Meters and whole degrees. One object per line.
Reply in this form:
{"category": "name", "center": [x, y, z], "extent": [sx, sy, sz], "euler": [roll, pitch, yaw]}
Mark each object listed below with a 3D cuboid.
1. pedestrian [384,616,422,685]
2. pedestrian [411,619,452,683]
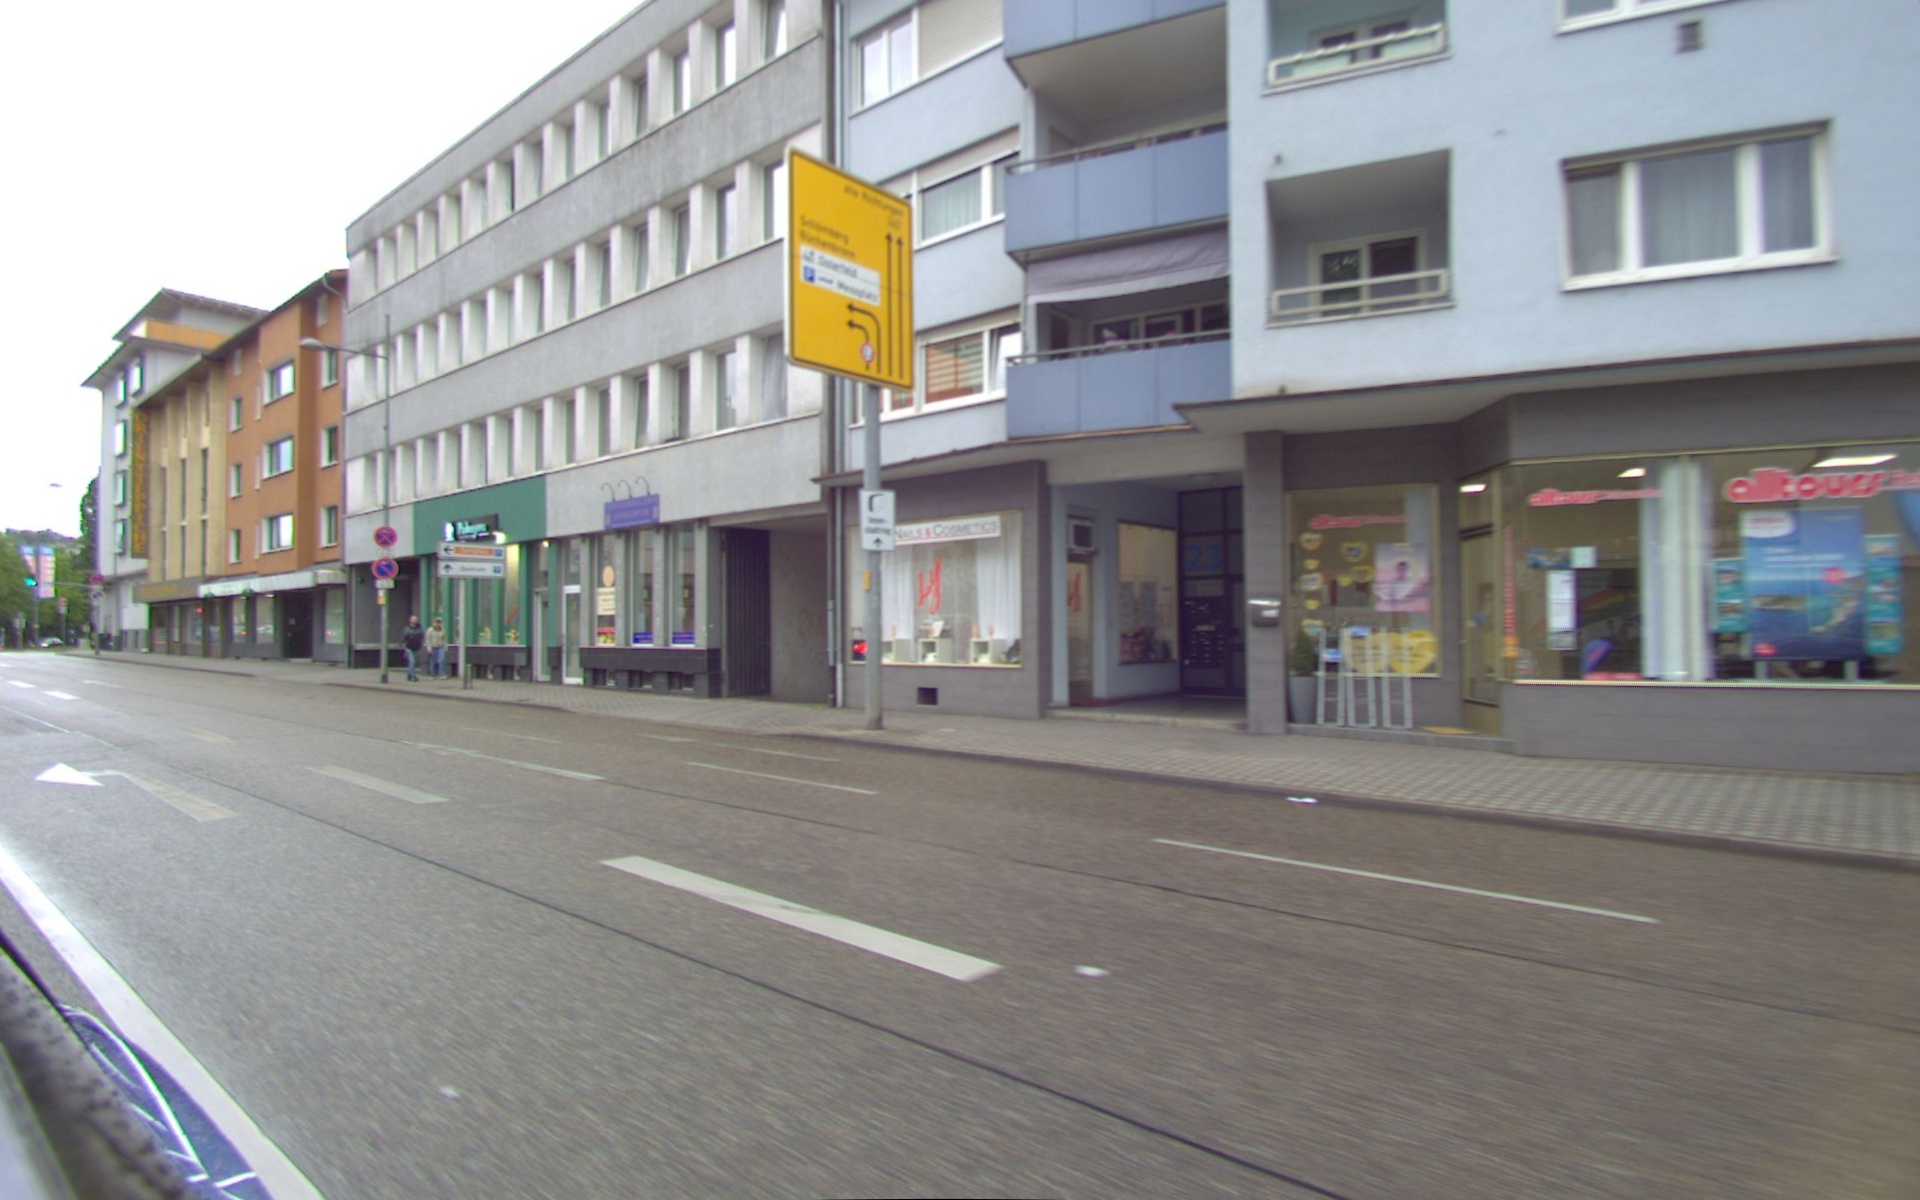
{"category": "pedestrian", "center": [-15.039, 1.340, 27.340], "extent": [0.826, 1.801, 0.569], "euler": [-1, 2, 41]}
{"category": "pedestrian", "center": [-14.554, 1.378, 27.853], "extent": [0.907, 1.688, 0.624], "euler": [-1, 2, 40]}
